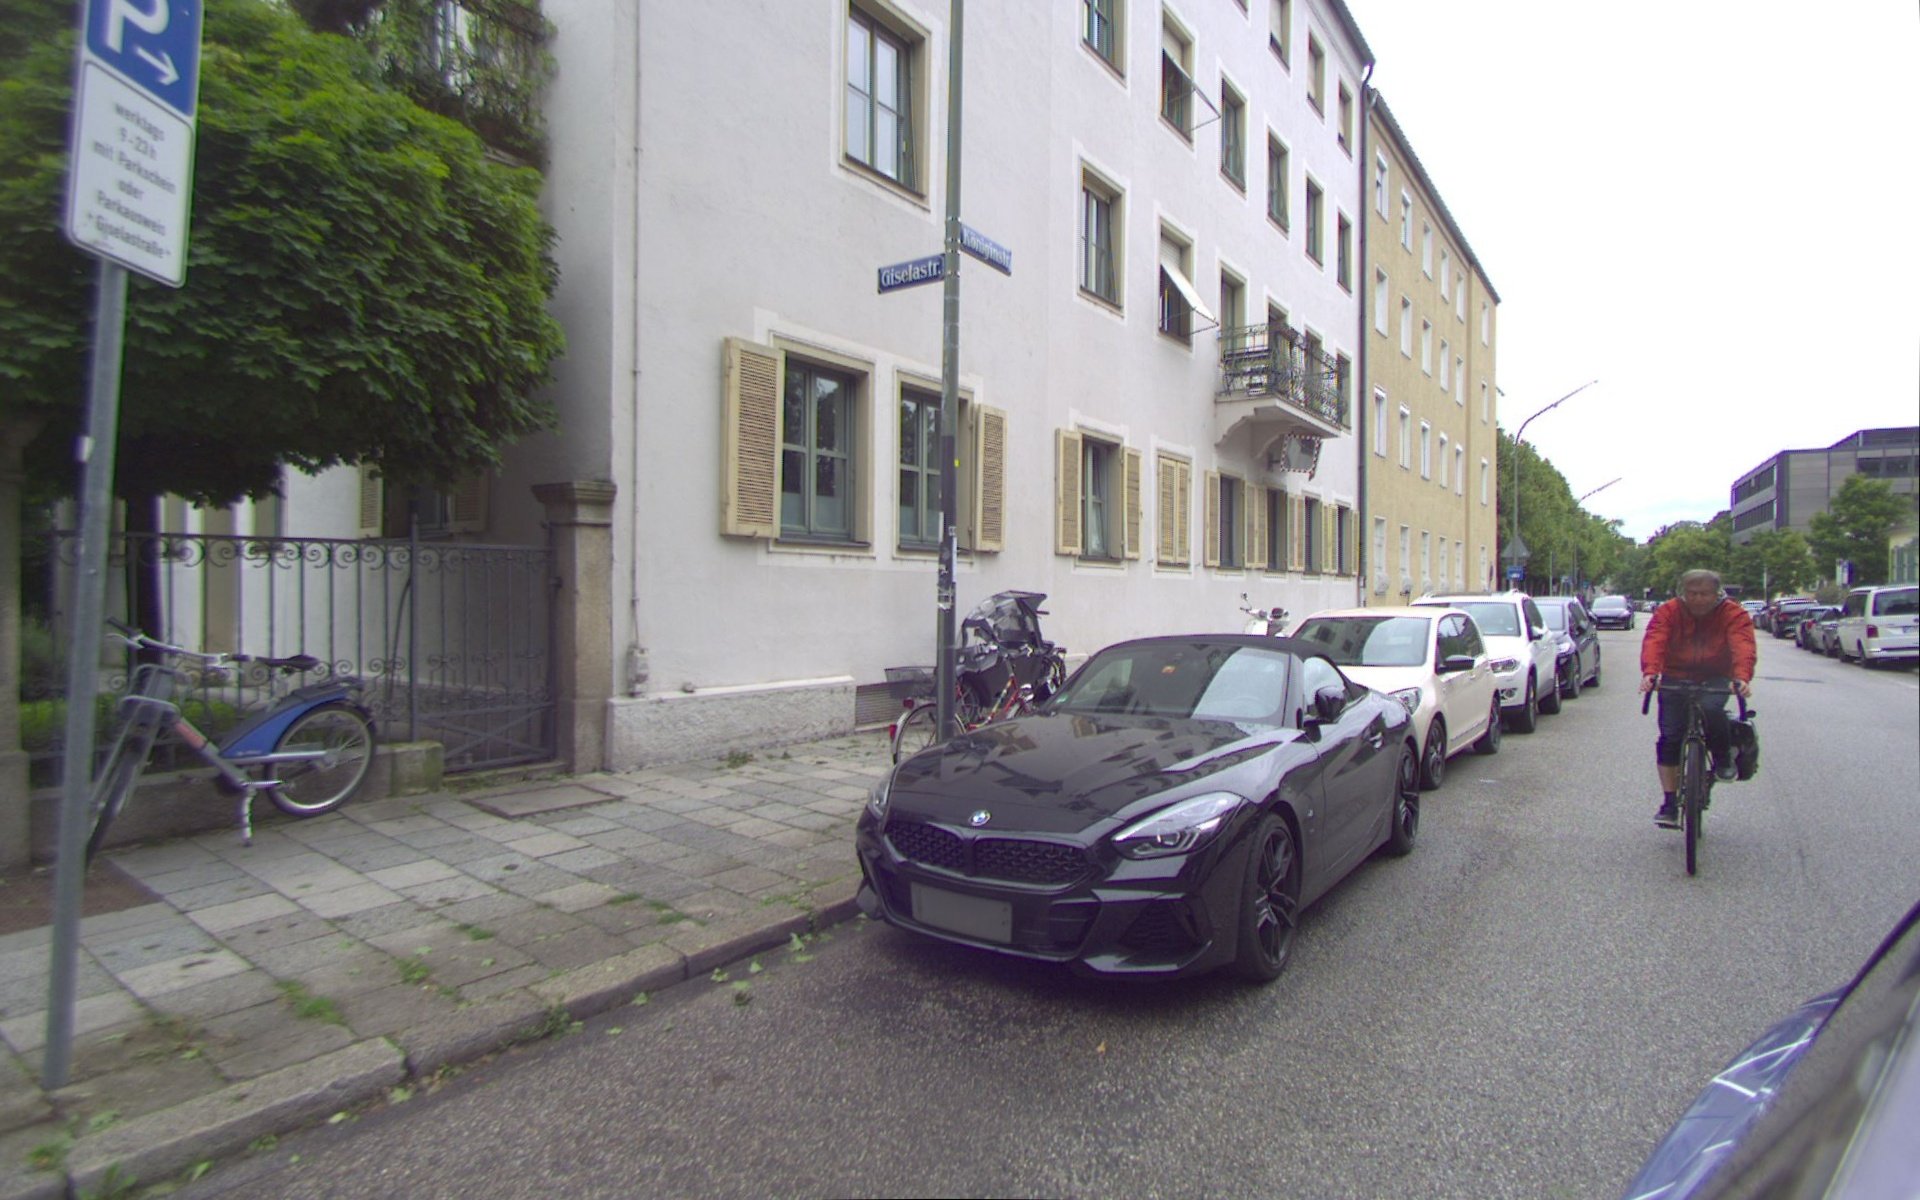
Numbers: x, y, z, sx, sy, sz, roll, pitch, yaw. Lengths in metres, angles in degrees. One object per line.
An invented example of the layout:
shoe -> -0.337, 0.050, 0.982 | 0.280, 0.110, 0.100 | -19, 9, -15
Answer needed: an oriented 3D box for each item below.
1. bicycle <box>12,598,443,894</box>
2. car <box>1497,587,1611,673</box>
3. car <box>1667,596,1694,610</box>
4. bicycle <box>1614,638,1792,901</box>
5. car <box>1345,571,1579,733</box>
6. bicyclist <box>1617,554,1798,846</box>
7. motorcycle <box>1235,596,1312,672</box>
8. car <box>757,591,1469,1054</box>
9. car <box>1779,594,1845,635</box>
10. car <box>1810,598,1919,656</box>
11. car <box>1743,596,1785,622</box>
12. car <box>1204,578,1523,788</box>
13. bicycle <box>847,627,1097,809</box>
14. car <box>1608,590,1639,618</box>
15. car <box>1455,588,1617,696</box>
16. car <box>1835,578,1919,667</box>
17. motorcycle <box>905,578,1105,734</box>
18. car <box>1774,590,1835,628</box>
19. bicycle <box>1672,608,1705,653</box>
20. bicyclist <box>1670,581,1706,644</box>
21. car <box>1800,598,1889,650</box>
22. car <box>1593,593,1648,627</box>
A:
bicycle -> -3.689, 0.631, 5.278 | 0.539, 1.241, 1.758 | 1, 1, 31
car -> 12.893, 0.551, 21.824 | 1.853, 1.596, 4.841 | 2, 1, 33
car -> 78.395, 0.340, 110.161 | 1.914, 1.416, 4.438 | 1, 1, 31
bicycle -> 4.285, 0.840, 5.773 | 0.671, 1.156, 1.982 | -1, 0, 40
car -> 6.698, 0.571, 13.222 | 1.988, 1.729, 4.475 | -2, -1, 36
bicyclist -> 4.307, 0.511, 5.816 | 0.753, 1.502, 0.967 | -1, -1, 41
motorcycle -> 5.556, 0.573, 17.872 | 0.730, 1.255, 1.982 | -1, 0, 35
car -> 1.273, 0.680, 5.570 | 1.995, 1.335, 4.536 | 4, 2, 36
car -> 35.990, 0.566, 42.844 | 1.841, 1.628, 4.679 | -1, 0, 37
car -> 26.851, 0.730, 30.005 | 1.879, 1.563, 4.641 | 1, 0, 32
car -> 49.858, 0.543, 62.836 | 1.719, 1.511, 4.405 | -1, 0, 35
car -> 3.955, 0.669, 9.578 | 1.766, 1.566, 3.660 | -5, -3, 38
bicycle -> 0.144, 0.763, 7.244 | 0.663, 1.077, 1.908 | 1, 1, 43
car -> 48.223, 0.277, 73.494 | 1.778, 1.920, 4.517 | -1, 0, 35
car -> 9.951, 0.613, 17.320 | 1.834, 1.550, 4.356 | 2, 1, 37
car -> 23.512, 0.504, 25.143 | 1.958, 2.015, 5.090 | -1, 0, 33
motorcycle -> 0.565, 0.508, 10.771 | 0.854, 1.451, 2.673 | 1, 0, 34
car -> 40.180, 0.402, 48.232 | 1.897, 1.713, 4.745 | -1, 0, 36
bicycle -> 20.108, 0.829, 27.940 | 0.716, 1.222, 1.777 | -1, -2, 36
bicyclist -> 20.126, 0.343, 27.975 | 0.776, 1.688, 1.021 | -1, -2, 36
car -> 29.730, 0.747, 34.124 | 1.854, 1.563, 4.132 | 3, 2, 37
car -> 33.612, 0.473, 51.444 | 1.988, 1.652, 5.031 | -1, 0, 37
